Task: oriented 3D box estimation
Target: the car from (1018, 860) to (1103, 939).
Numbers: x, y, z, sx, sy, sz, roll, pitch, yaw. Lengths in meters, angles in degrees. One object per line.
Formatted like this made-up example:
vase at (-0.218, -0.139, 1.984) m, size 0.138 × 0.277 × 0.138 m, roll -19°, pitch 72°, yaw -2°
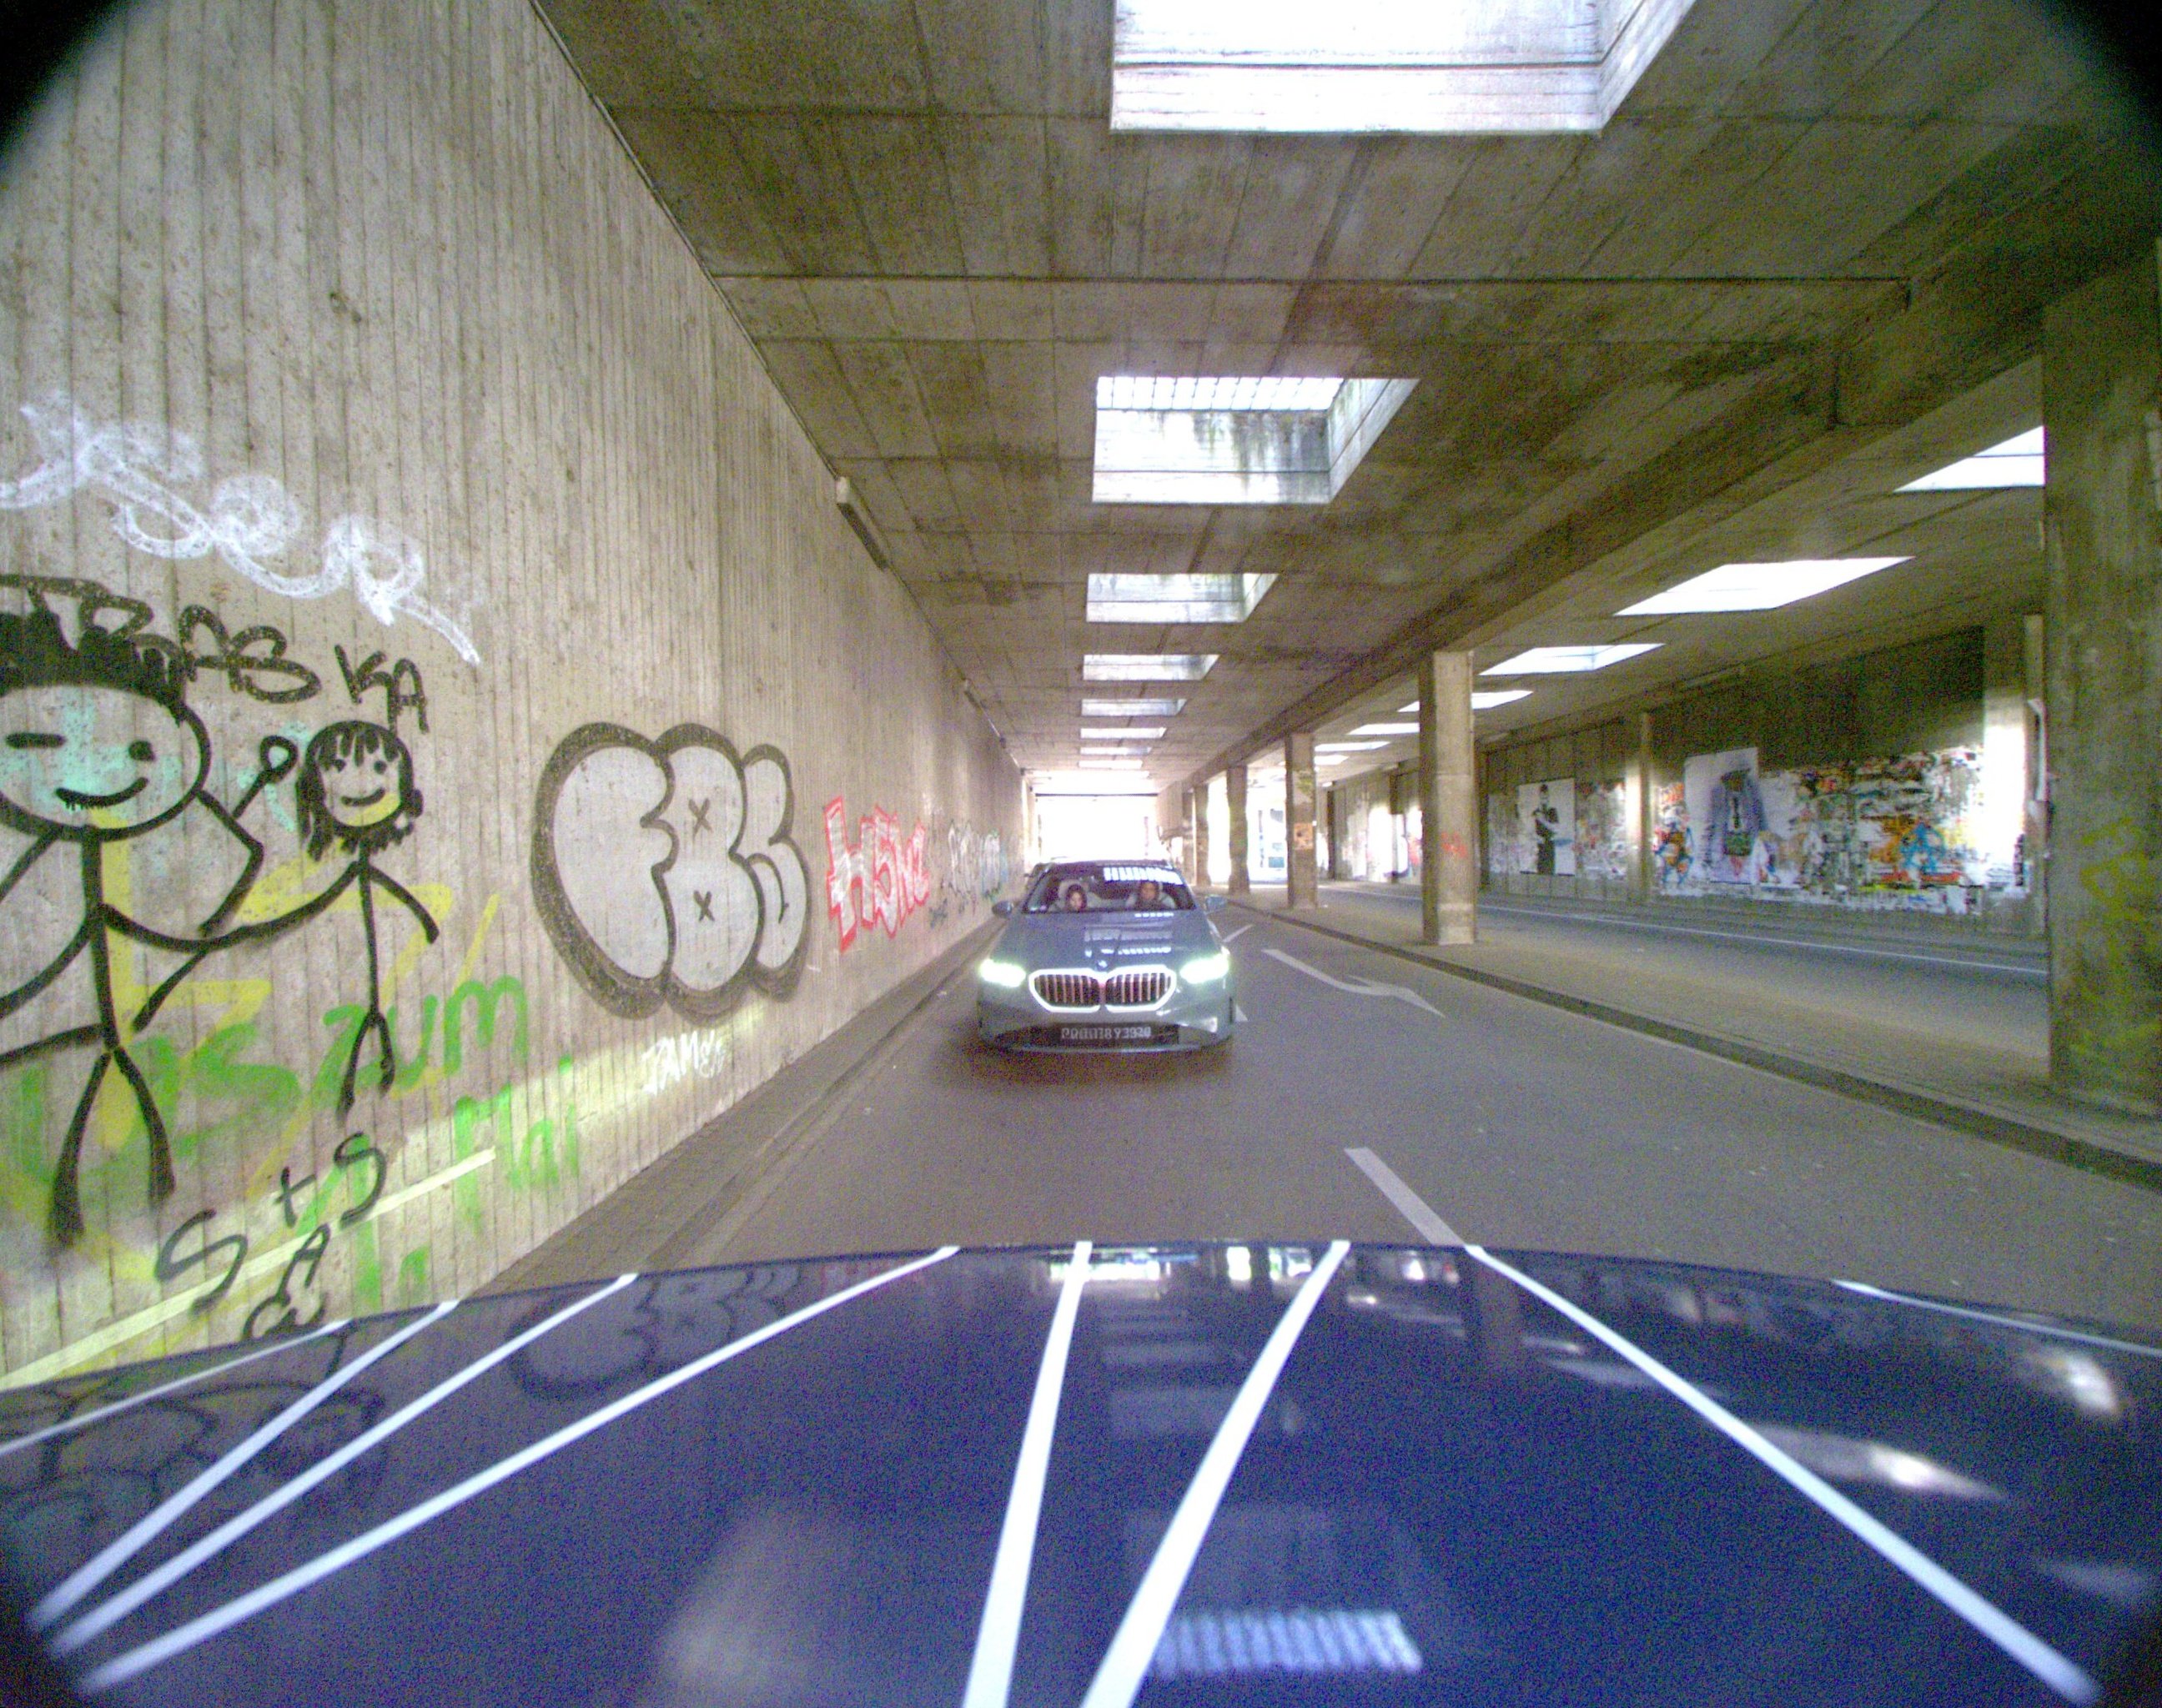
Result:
car at (-0.420, 0.930, 17.293) m, size 1.679 × 1.516 × 3.969 m, roll -2°, pitch 0°, yaw 0°

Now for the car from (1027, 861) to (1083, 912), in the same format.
car at (-0.756, 0.959, 23.919) m, size 1.592 × 1.432 × 3.806 m, roll -2°, pitch 0°, yaw 0°

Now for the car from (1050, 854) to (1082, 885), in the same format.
car at (-0.802, 0.817, 41.253) m, size 1.592 × 1.562 × 3.694 m, roll -2°, pitch 0°, yaw 0°

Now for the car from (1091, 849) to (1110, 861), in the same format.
car at (2.483, 0.152, 97.973) m, size 1.741 × 1.519 × 3.786 m, roll -2°, pitch 0°, yaw -9°

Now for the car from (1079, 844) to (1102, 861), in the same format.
car at (1.286, -0.177, 103.665) m, size 2.161 × 2.150 × 4.785 m, roll -2°, pitch 0°, yaw -12°

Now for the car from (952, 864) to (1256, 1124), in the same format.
car at (0.132, 0.915, 7.284) m, size 1.861 × 1.516 × 5.042 m, roll -2°, pitch 0°, yaw 0°

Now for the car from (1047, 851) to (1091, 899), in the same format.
car at (-0.458, 0.782, 29.926) m, size 1.592 × 1.711 × 3.694 m, roll -2°, pitch 0°, yaw 0°
